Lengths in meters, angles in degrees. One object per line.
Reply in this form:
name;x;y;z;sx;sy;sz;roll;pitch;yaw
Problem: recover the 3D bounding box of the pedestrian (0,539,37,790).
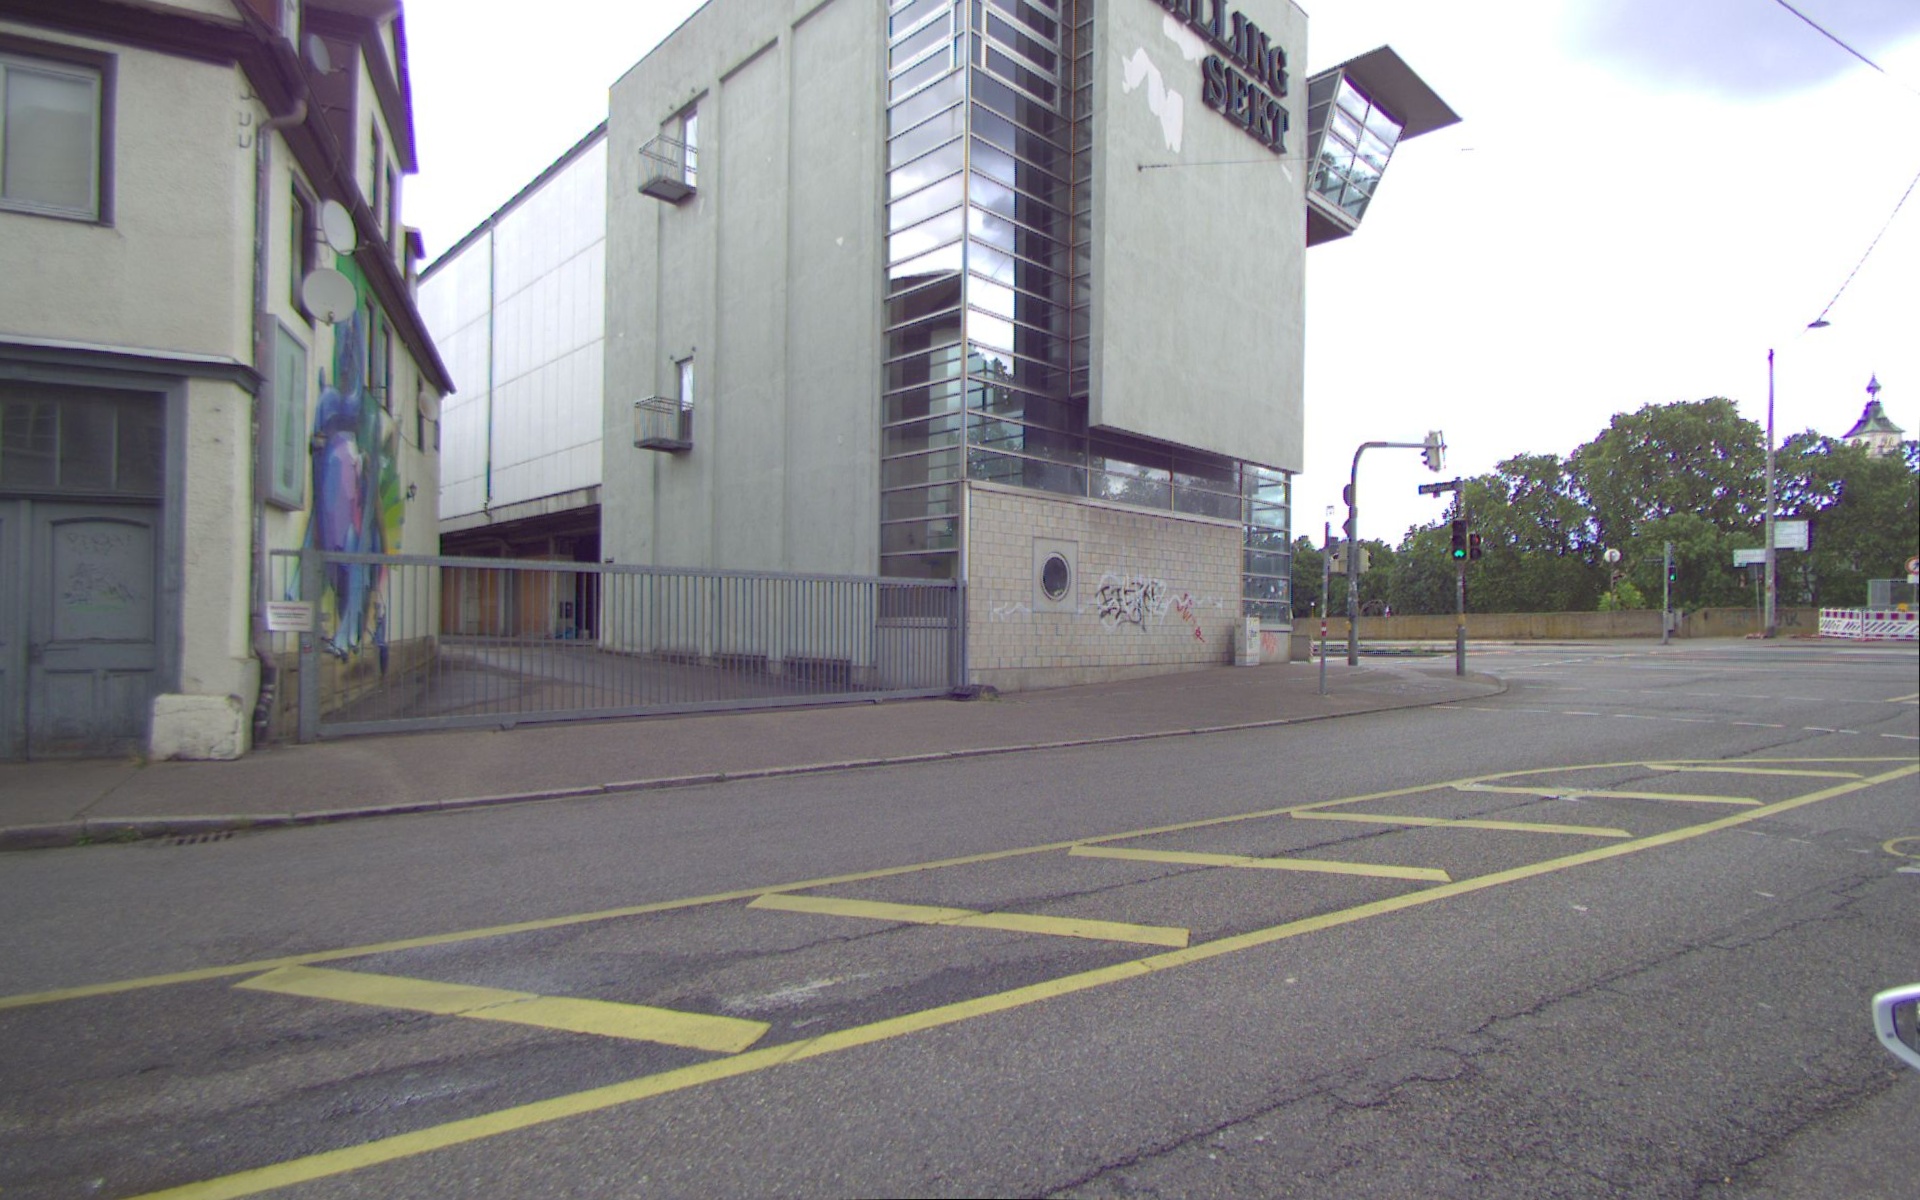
pedestrian;-7.908;0.493;7.606;1.077;1.911;1.050;-1;1;-27
